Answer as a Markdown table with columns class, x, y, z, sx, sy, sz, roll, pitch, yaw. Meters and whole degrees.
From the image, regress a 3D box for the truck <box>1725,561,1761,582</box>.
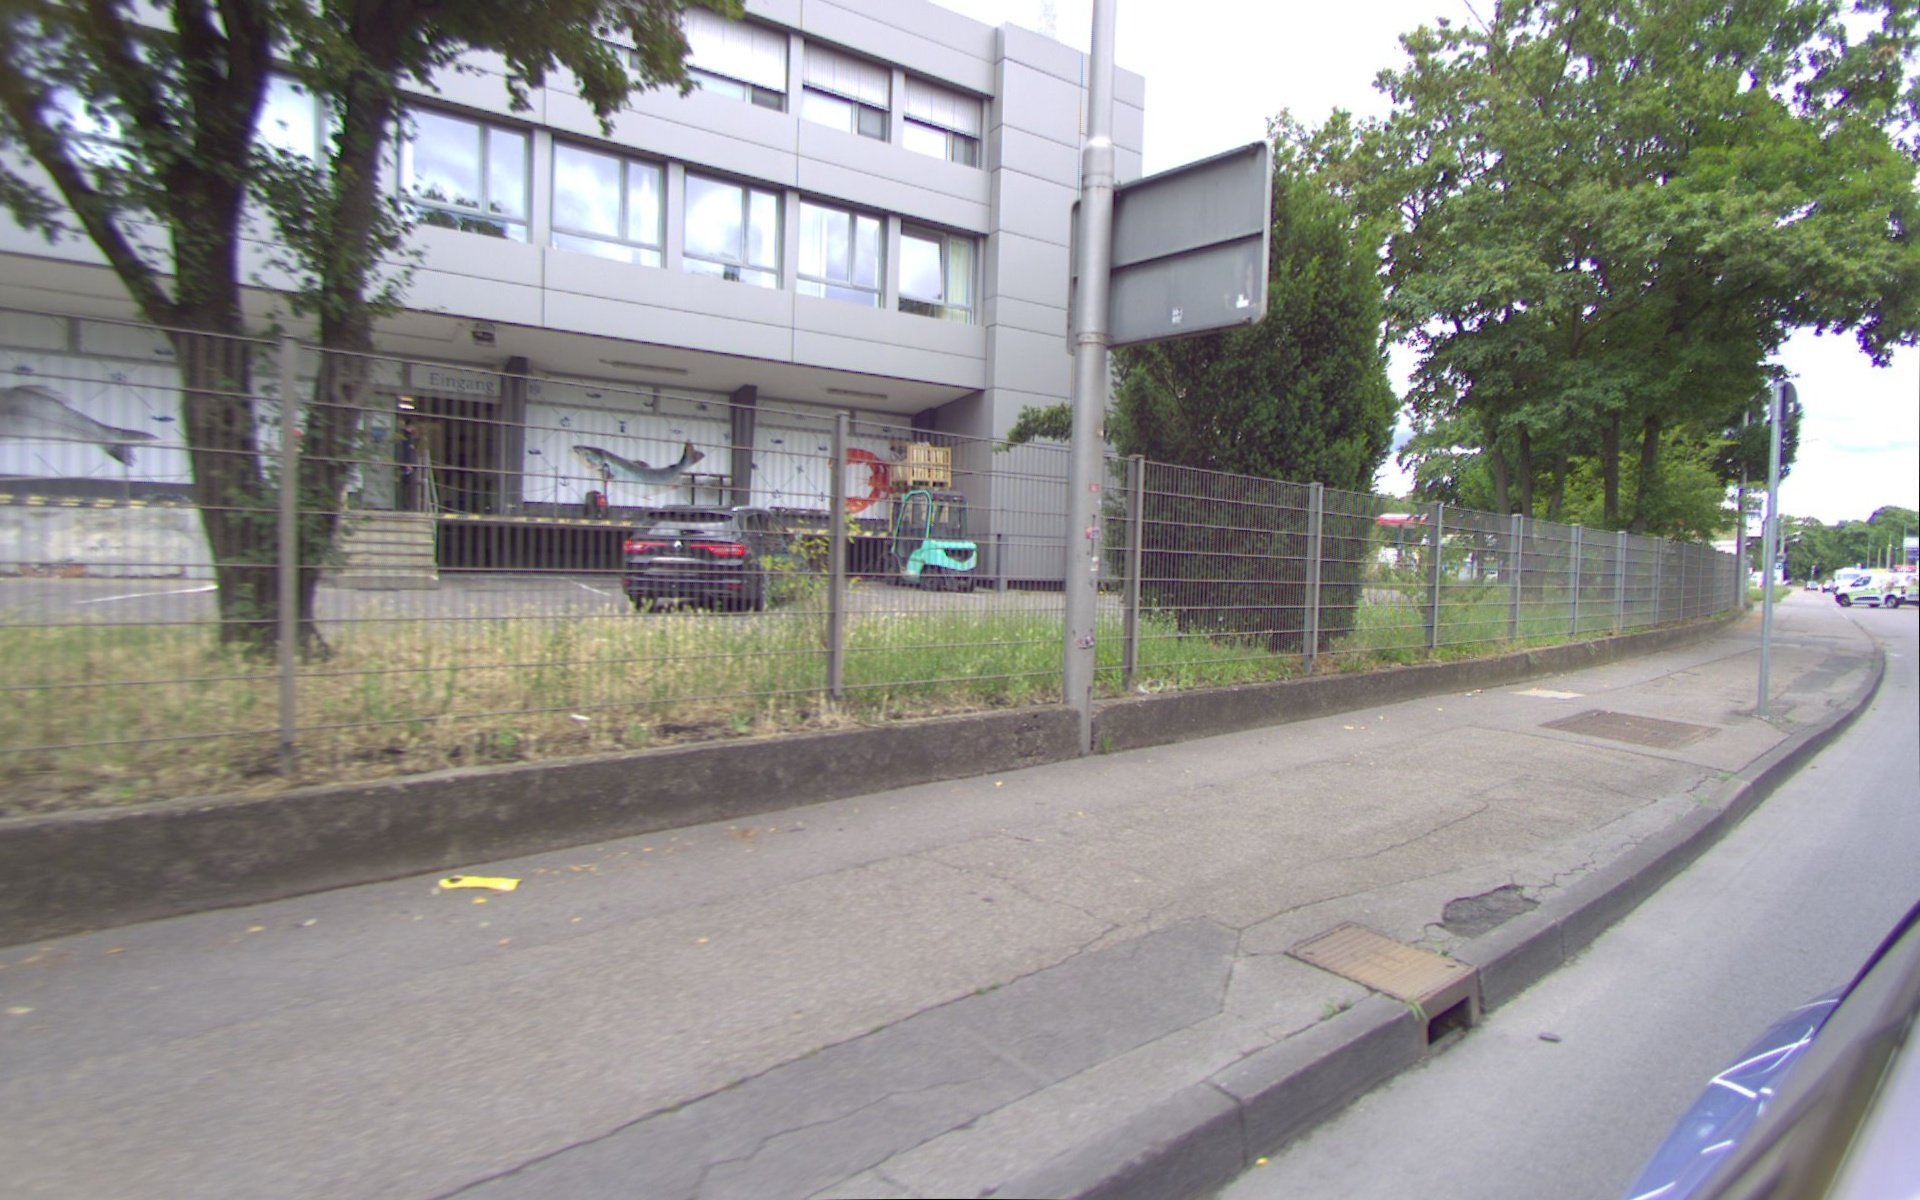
| class | x | y | z | sx | sy | sz | roll | pitch | yaw |
| --- | --- | --- | --- | --- | --- | --- | --- | --- | --- |
| truck | 145.605 | -5.277 | 188.349 | 2.798 | 3.757 | 9.039 | 2 | 2 | 22 |

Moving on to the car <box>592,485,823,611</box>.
| class | x | y | z | sx | sy | sz | roll | pitch | yaw |
| --- | --- | --- | --- | --- | --- | --- | --- | --- | --- |
| car | -3.419 | -0.785 | 14.722 | 1.964 | 1.491 | 4.693 | 2 | 4 | 3 |

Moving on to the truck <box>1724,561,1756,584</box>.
| class | x | y | z | sx | sy | sz | roll | pitch | yaw |
| --- | --- | --- | --- | --- | --- | --- | --- | --- | --- |
| truck | 134.941 | -4.768 | 175.167 | 2.845 | 3.674 | 6.700 | 4 | 3 | 25 |

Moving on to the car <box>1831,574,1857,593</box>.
| class | x | y | z | sx | sy | sz | roll | pitch | yaw |
| --- | --- | --- | --- | --- | --- | --- | --- | --- | --- |
| car | 98.218 | -1.827 | 112.437 | 1.703 | 2.038 | 3.841 | 3 | 3 | 35 |

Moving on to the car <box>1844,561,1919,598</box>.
| class | x | y | z | sx | sy | sz | roll | pitch | yaw |
| --- | --- | --- | --- | --- | --- | --- | --- | --- | --- |
| car | 47.814 | -1.054 | 51.549 | 1.779 | 1.786 | 4.208 | 0 | 2 | -1 |

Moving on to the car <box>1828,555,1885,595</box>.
| class | x | y | z | sx | sy | sz | roll | pitch | yaw |
| --- | --- | --- | --- | --- | --- | --- | --- | --- | --- |
| car | 88.096 | -2.439 | 99.604 | 3.322 | 3.651 | 8.556 | 3 | 3 | 36 |

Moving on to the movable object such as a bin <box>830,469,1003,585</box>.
| class | x | y | z | sx | sy | sz | roll | pitch | yaw |
| --- | --- | --- | --- | --- | --- | --- | --- | --- | --- |
| movable object such as a bin | -1.062 | -1.615 | 22.704 | 1.916 | 2.333 | 4.001 | 0 | 3 | -37 |
